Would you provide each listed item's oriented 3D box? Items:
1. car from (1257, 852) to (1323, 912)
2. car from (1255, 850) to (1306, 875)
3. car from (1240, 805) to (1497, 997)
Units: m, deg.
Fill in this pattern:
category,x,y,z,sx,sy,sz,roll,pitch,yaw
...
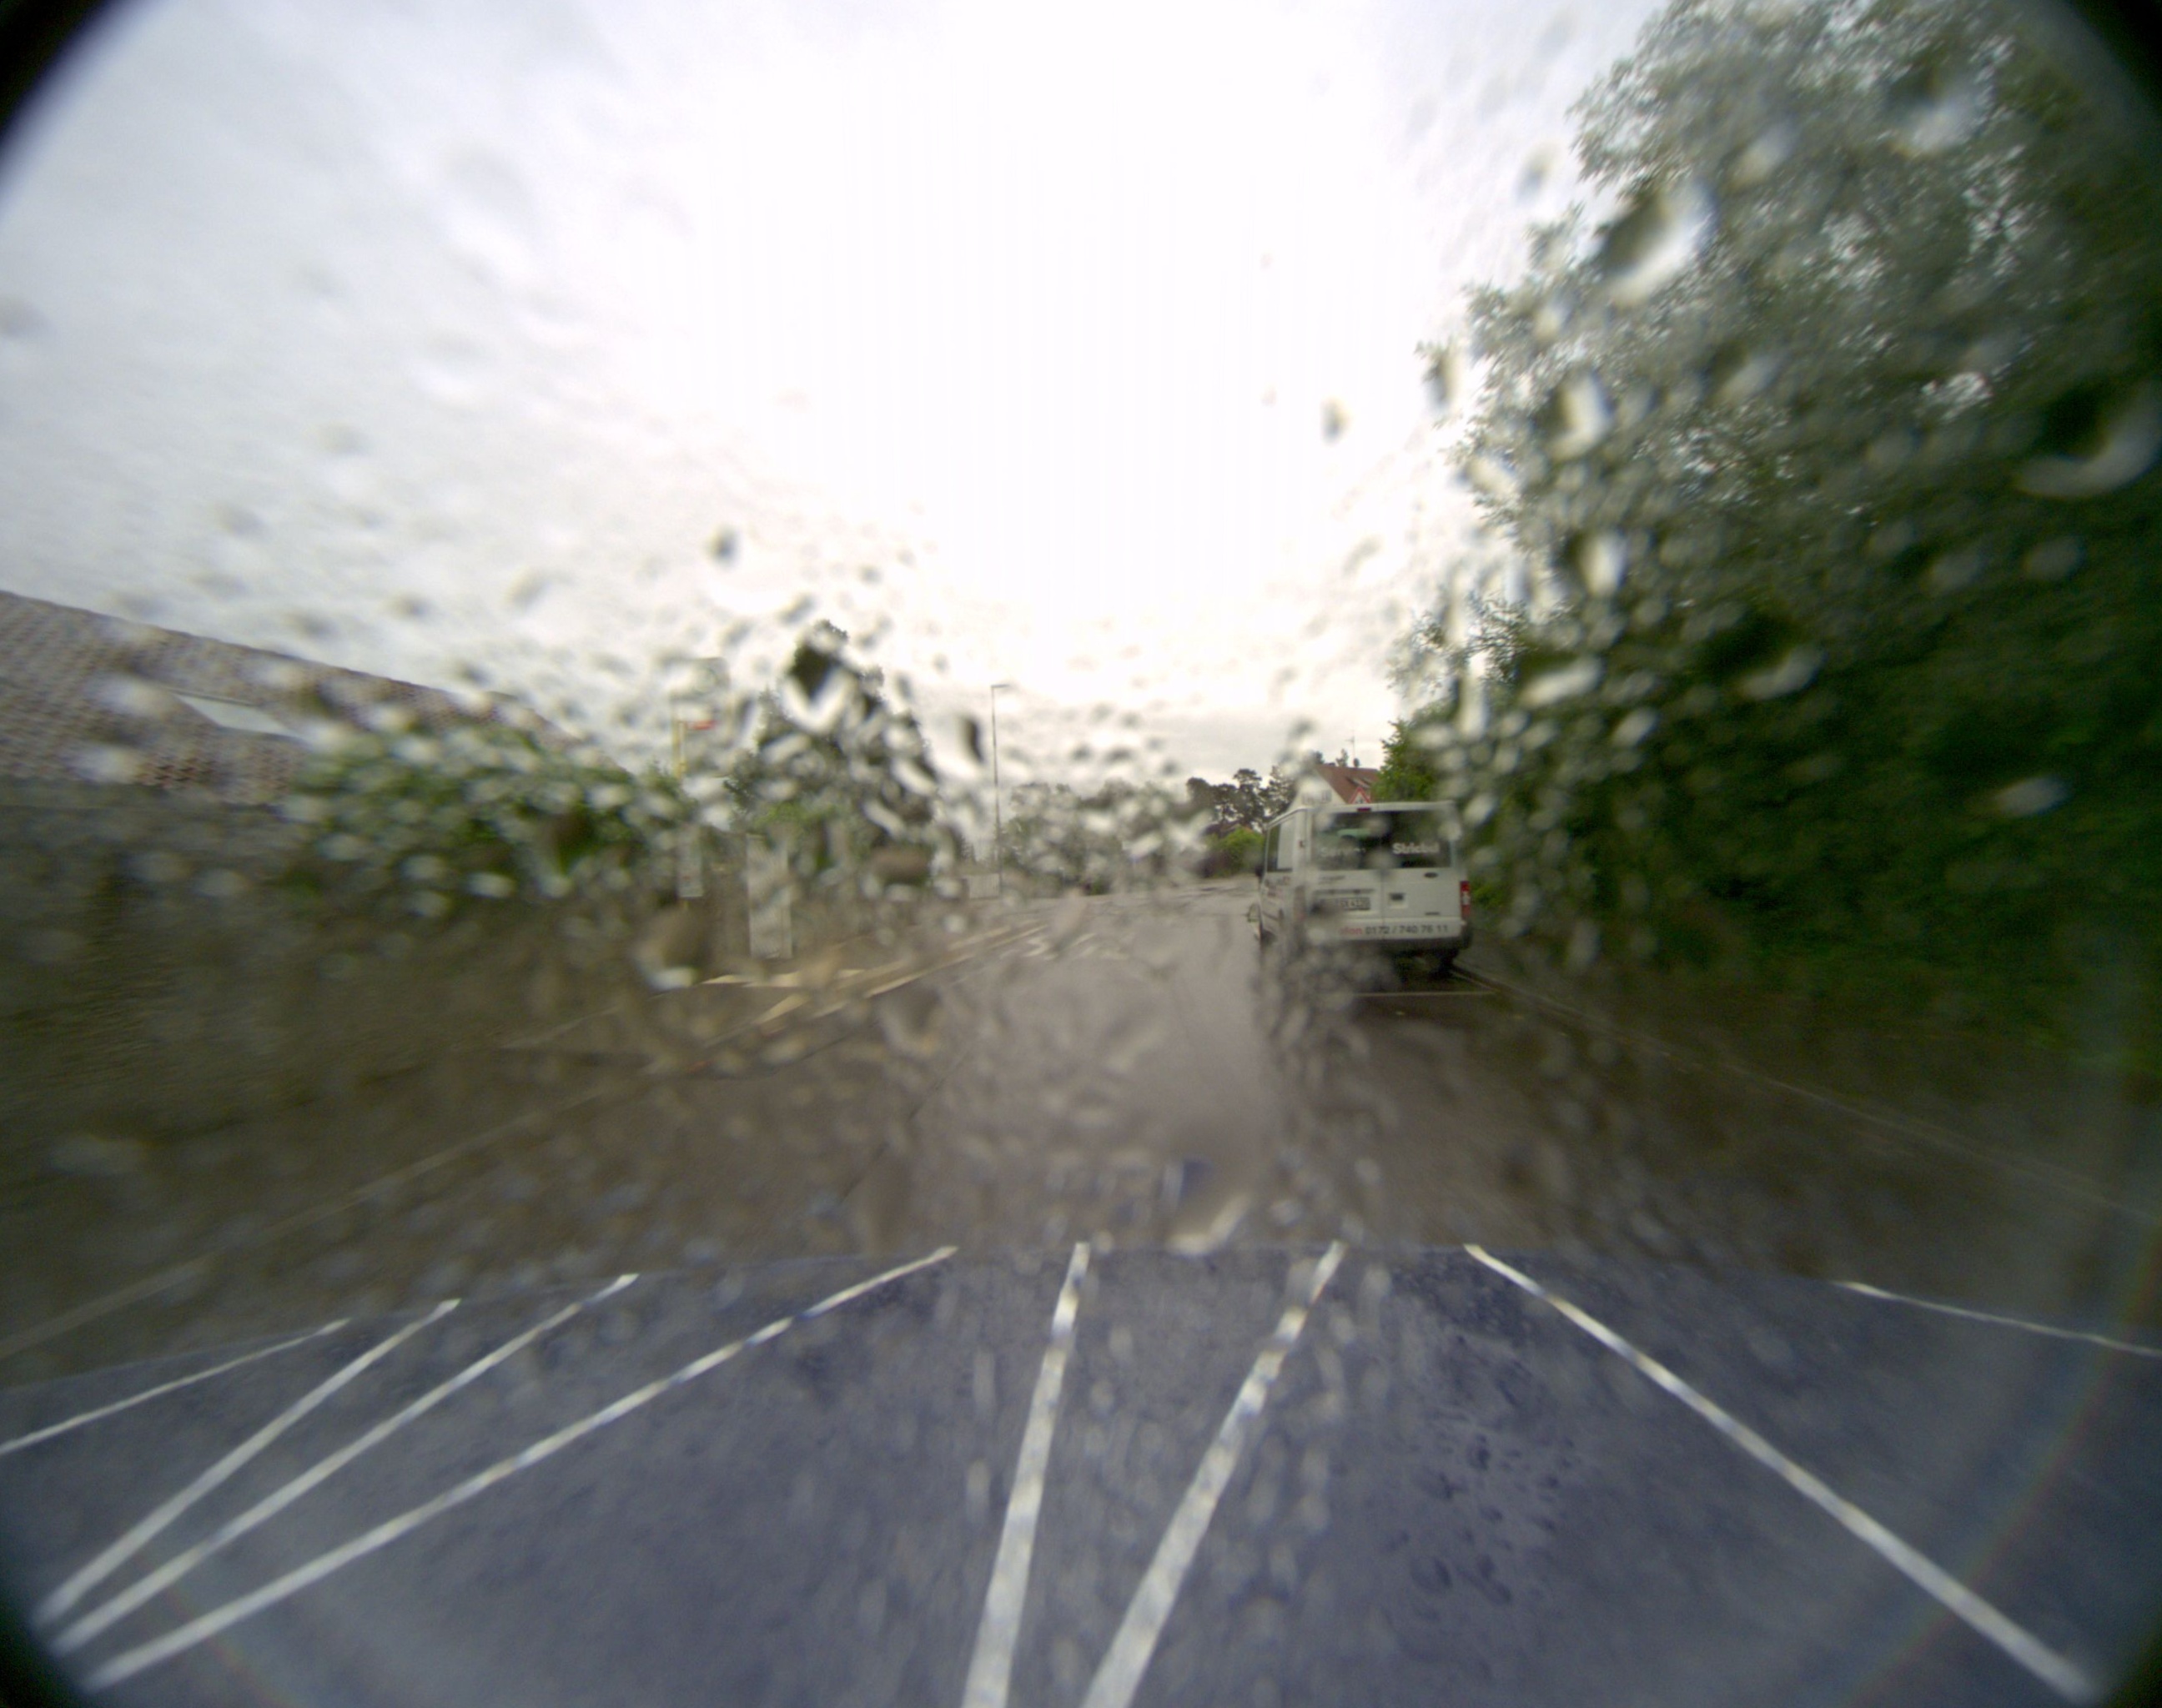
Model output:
category,x,y,z,sx,sy,sz,roll,pitch,yaw
car,5.702,0.715,21.004,1.604,1.503,2.945,-2,0,13
car,13.315,0.525,50.574,1.796,1.460,4.224,-3,0,36
car,3.528,0.504,10.528,2.115,1.963,5.175,-2,0,7
